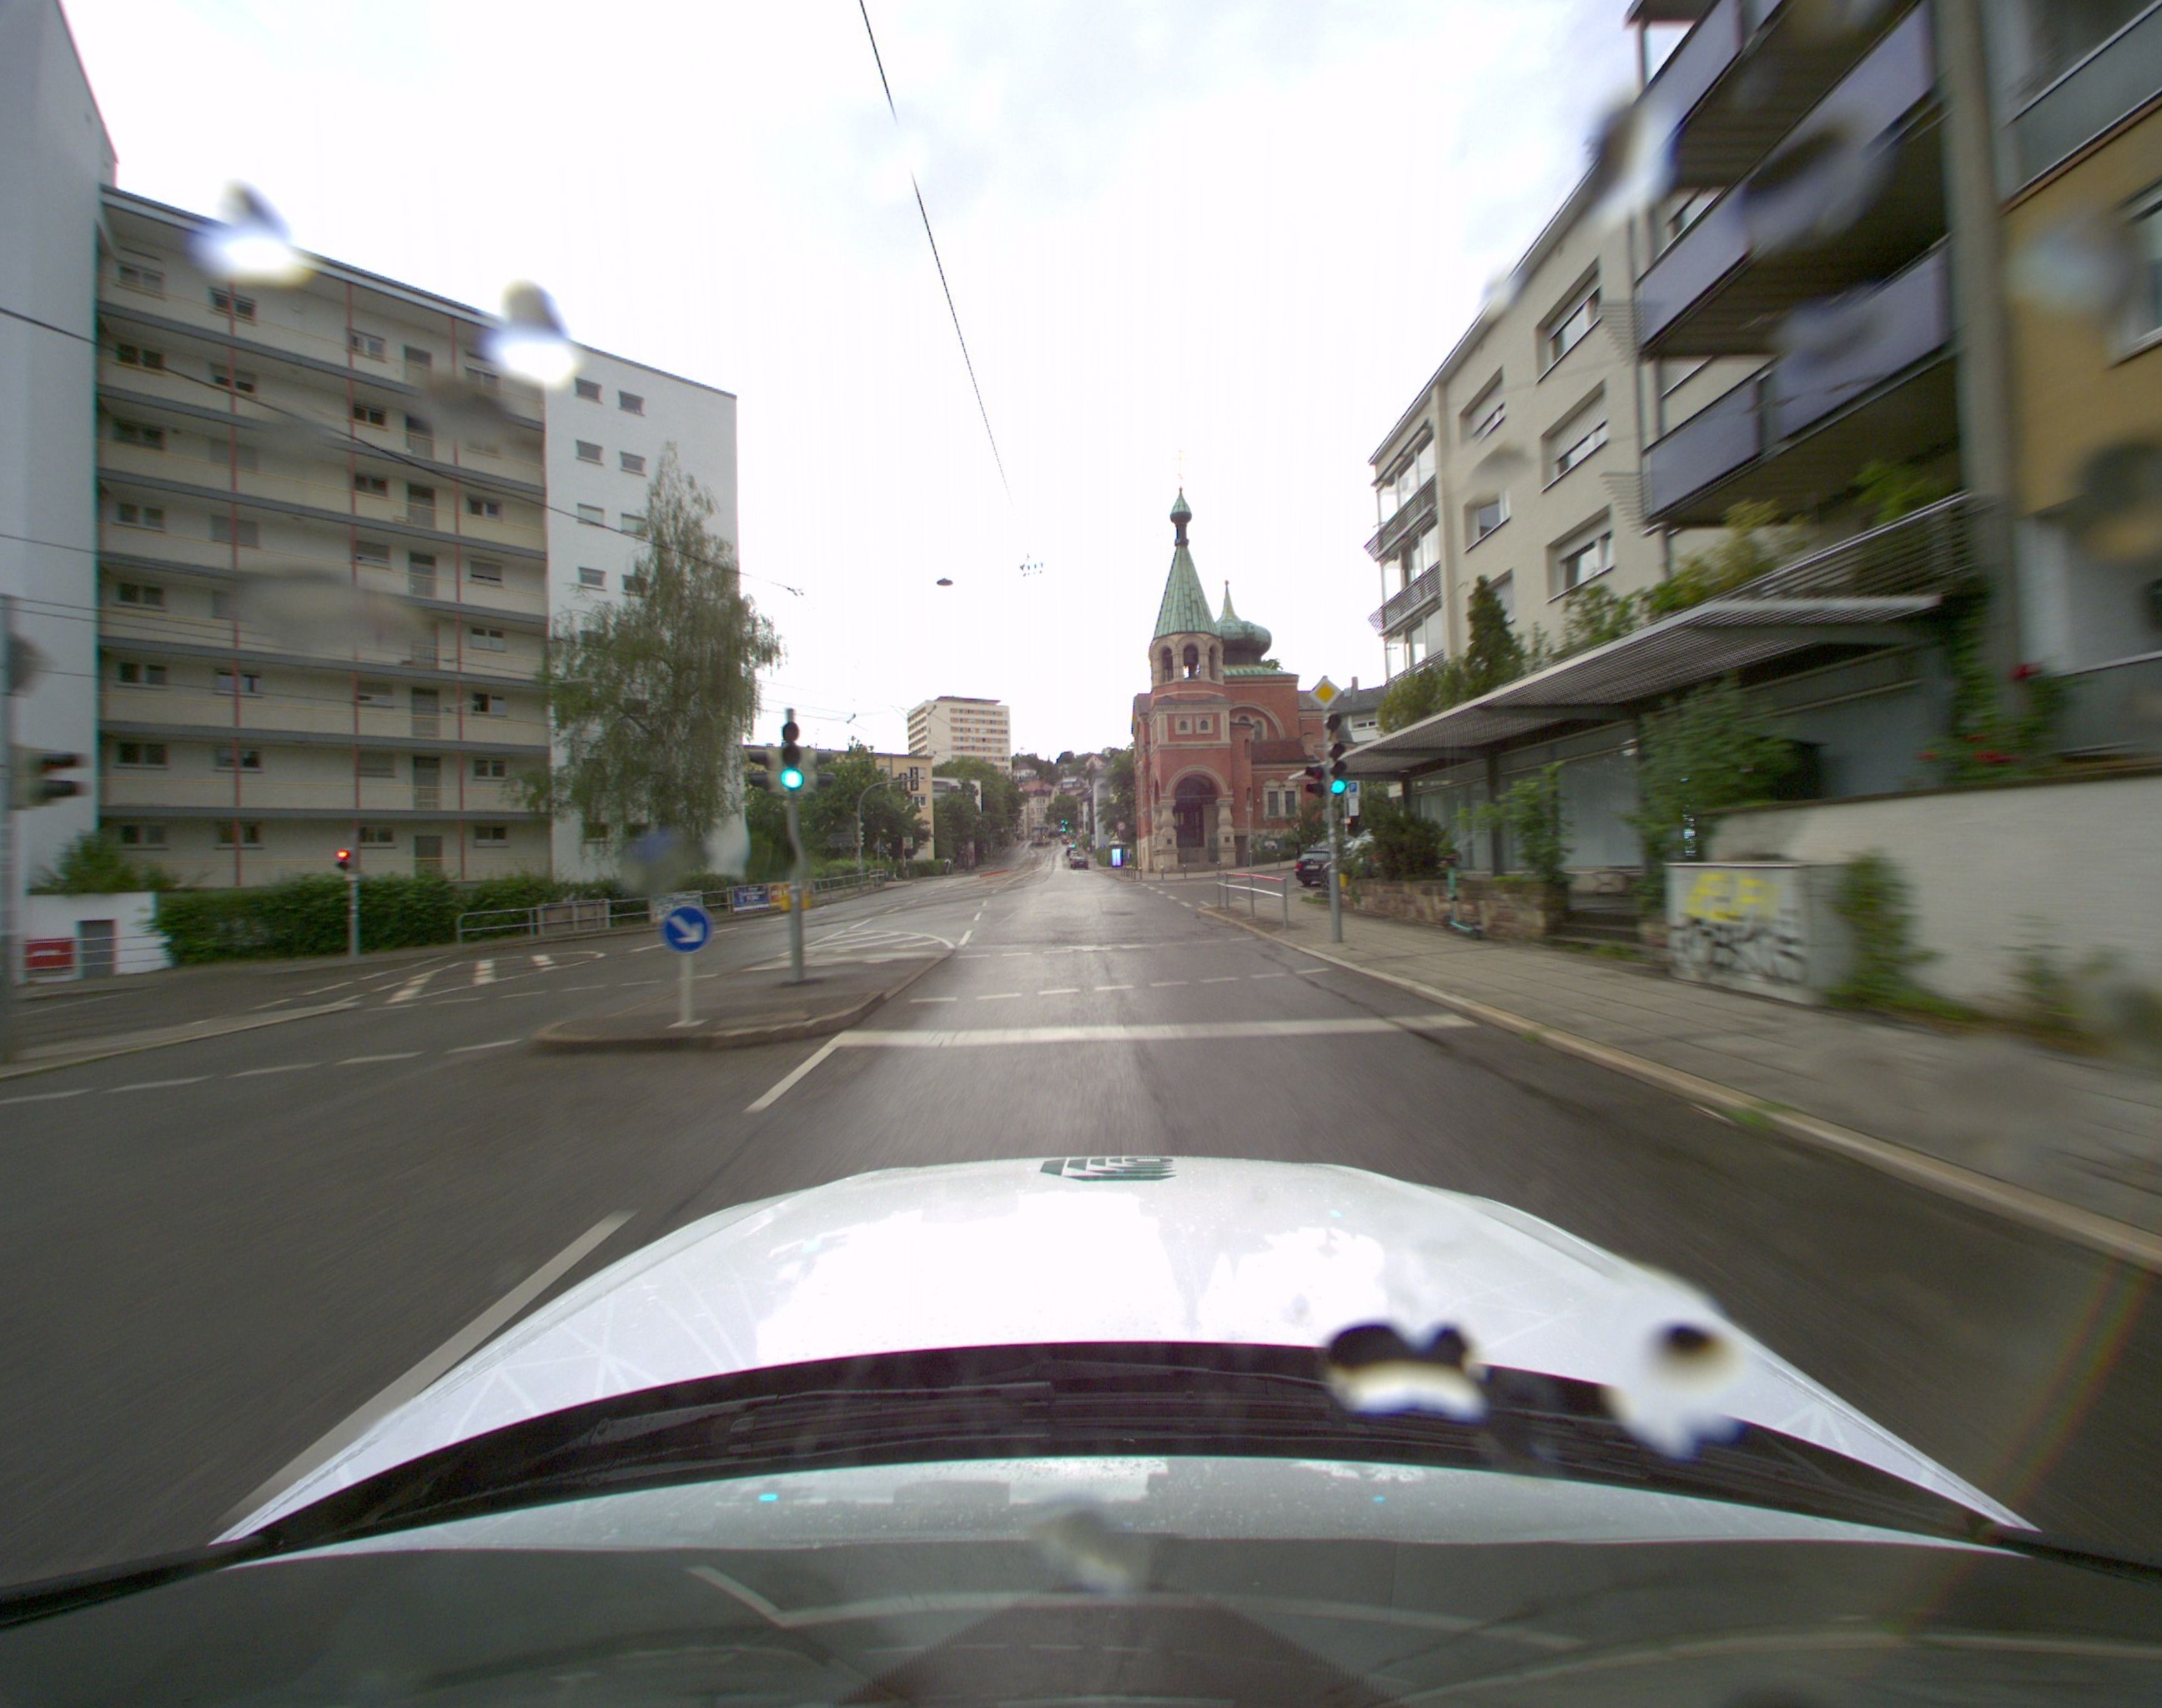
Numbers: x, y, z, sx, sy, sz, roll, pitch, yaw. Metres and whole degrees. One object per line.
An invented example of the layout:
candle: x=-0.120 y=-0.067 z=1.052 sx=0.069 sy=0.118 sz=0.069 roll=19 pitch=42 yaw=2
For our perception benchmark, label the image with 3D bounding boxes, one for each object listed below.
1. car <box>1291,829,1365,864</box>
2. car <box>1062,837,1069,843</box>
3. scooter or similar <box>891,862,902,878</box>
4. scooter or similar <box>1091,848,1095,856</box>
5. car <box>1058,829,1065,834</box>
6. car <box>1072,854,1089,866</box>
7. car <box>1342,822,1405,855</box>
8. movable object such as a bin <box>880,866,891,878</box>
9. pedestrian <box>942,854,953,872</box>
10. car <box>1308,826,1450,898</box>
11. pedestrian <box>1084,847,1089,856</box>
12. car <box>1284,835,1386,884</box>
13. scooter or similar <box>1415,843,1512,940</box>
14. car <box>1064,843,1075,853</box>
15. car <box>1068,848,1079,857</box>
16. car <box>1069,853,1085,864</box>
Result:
car: x=13.481 y=-0.426 z=44.272 sx=1.918 sy=1.368 sz=4.507 roll=-6 pitch=1 yaw=44
car: x=-4.112 y=-3.643 z=214.965 sx=1.797 sy=1.645 sz=3.996 roll=-1 pitch=0 yaw=-3
scooter or similar: x=-13.847 y=1.207 z=61.003 sx=0.571 sy=1.184 sz=1.597 roll=-1 pitch=-1 yaw=-5
scooter or similar: x=2.116 y=-0.414 z=138.105 sx=0.572 sy=1.249 sz=1.612 roll=-1 pitch=4 yaw=4
car: x=-6.199 y=-7.196 z=258.414 sx=1.902 sy=1.641 sz=4.686 roll=0 pitch=2 yaw=-3
car: x=-0.035 y=0.743 z=100.838 sx=1.854 sy=1.487 sz=4.640 roll=-1 pitch=0 yaw=-3
car: x=17.204 y=-0.937 z=47.879 sx=1.922 sy=1.495 sz=3.954 roll=-5 pitch=2 yaw=44
movable object such as a bin: x=-14.251 y=1.301 z=59.270 sx=0.686 sy=0.882 sz=0.758 roll=-1 pitch=-2 yaw=-7
pedestrian: x=-13.278 y=0.912 z=81.009 sx=0.917 sy=1.846 sz=1.015 roll=0 pitch=-1 yaw=-6
car: x=7.471 y=0.240 z=20.954 sx=1.848 sy=1.503 sz=4.446 roll=-5 pitch=-2 yaw=-1
pedestrian: x=0.969 y=-0.432 z=152.457 sx=0.879 sy=1.582 sz=0.802 roll=-3 pitch=4 yaw=0
car: x=9.800 y=0.172 z=31.235 sx=1.976 sy=1.457 sz=4.478 roll=-1 pitch=4 yaw=42
scooter or similar: x=5.742 y=0.535 z=12.343 sx=0.533 sy=1.327 sz=1.658 roll=-6 pitch=0 yaw=-1
car: x=-2.223 y=-1.176 z=153.708 sx=1.902 sy=1.641 sz=4.686 roll=0 pitch=2 yaw=-3
car: x=-1.212 y=-0.224 z=137.367 sx=1.700 sy=1.433 sz=4.098 roll=0 pitch=2 yaw=-3
car: x=-0.624 y=0.567 z=112.283 sx=1.936 sy=1.464 sz=4.201 roll=-1 pitch=0 yaw=-4
